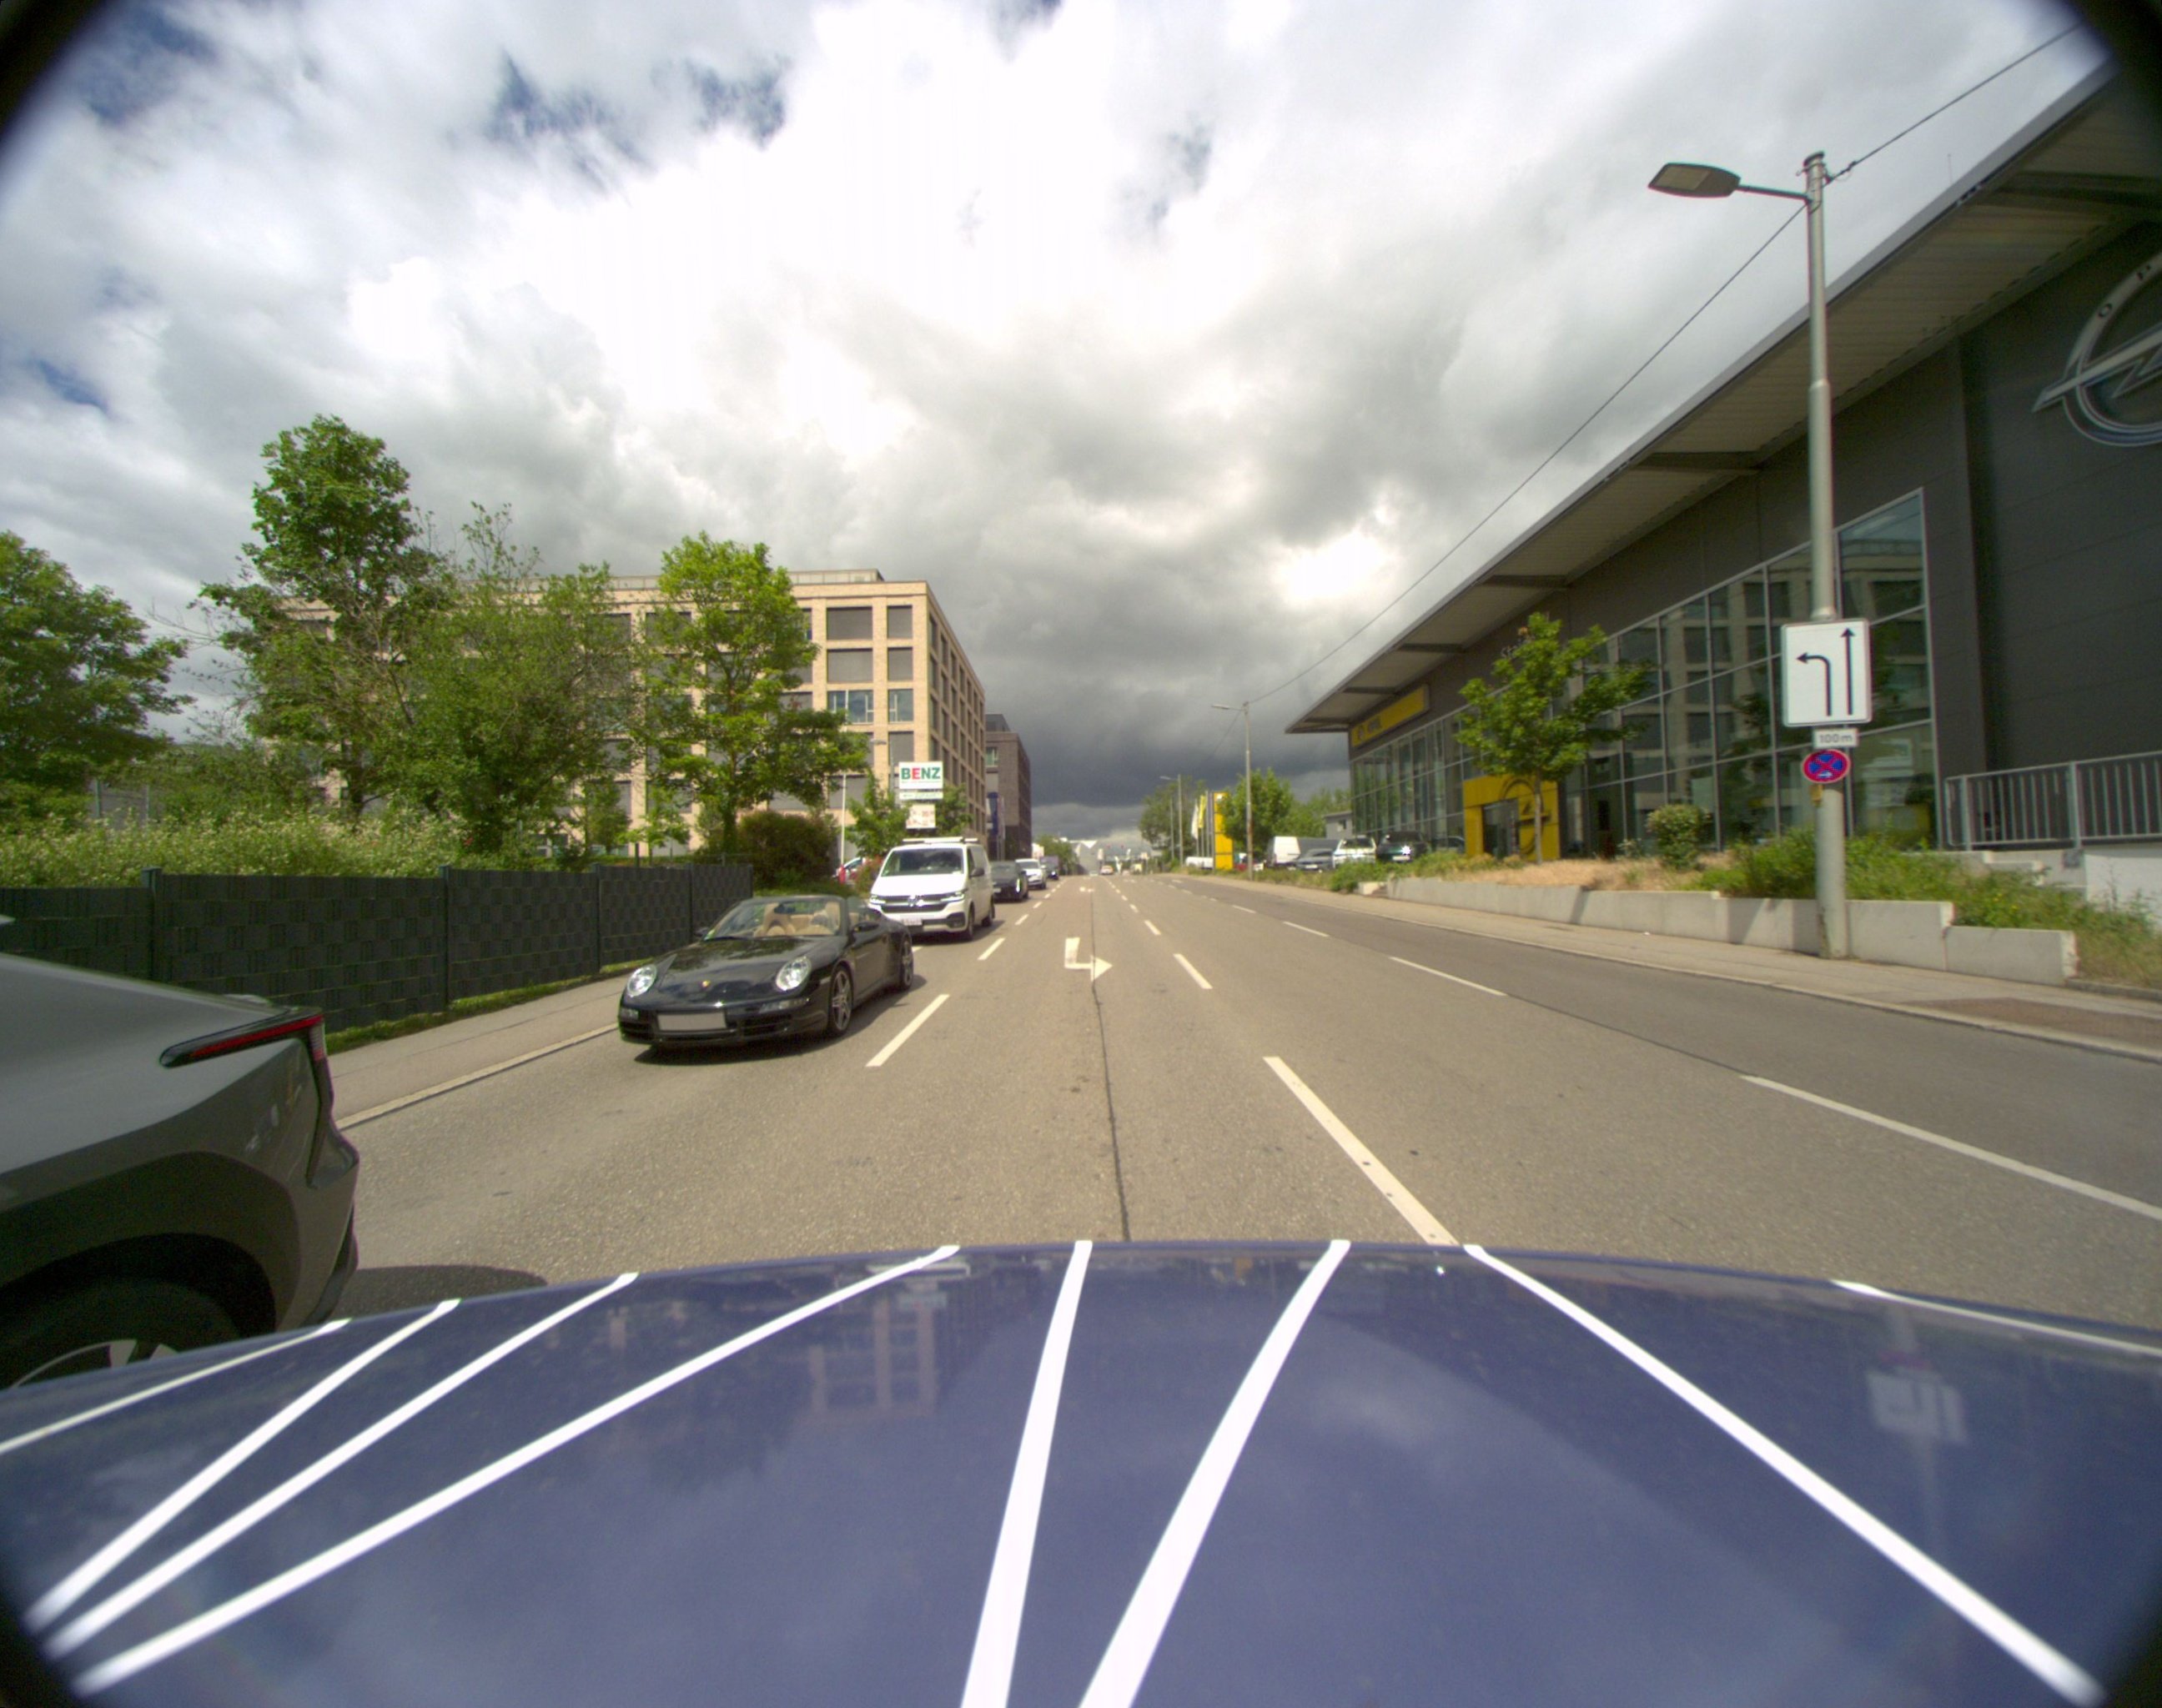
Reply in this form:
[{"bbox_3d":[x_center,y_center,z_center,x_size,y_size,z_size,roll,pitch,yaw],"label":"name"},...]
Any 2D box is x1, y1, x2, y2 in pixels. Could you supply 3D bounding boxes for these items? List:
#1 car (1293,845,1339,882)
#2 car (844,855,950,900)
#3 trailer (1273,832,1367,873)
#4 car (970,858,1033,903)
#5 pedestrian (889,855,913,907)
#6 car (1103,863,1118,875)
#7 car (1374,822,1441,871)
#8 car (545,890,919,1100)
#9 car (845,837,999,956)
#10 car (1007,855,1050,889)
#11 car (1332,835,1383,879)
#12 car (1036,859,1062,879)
[{"bbox_3d":[12.112,0.458,39.007,1.995,1.783,4.006,-1,0,21],"label":"car"},{"bbox_3d":[-7.625,0.950,31.756,3.998,1.723,1.822,-1,1,-3],"label":"car"},{"bbox_3d":[14.456,-0.079,46.166,5.074,2.336,2.000,-1,1,-1],"label":"trailer"},{"bbox_3d":[-2.823,0.905,27.880,1.818,1.454,4.000,-1,0,1],"label":"car"},{"bbox_3d":[-5.756,0.868,24.319,0.632,1.648,0.443,-1,1,-1],"label":"pedestrian"},{"bbox_3d":[4.510,2.264,116.490,1.998,1.731,4.547,-2,0,1],"label":"car"},{"bbox_3d":[12.341,-0.261,28.922,1.996,1.718,4.005,-1,0,18],"label":"car"},{"bbox_3d":[-3.033,1.149,7.686,1.824,1.286,4.038,-2,0,1],"label":"car"},{"bbox_3d":[-3.102,0.748,15.963,2.089,2.037,4.760,-2,0,1],"label":"car"},{"bbox_3d":[-2.587,0.887,38.421,1.818,1.577,4.000,-1,0,1],"label":"car"},{"bbox_3d":[12.173,0.120,33.433,1.995,1.783,4.006,-1,0,21],"label":"car"},{"bbox_3d":[-2.341,1.078,56.623,1.662,1.351,4.000,-1,0,1],"label":"car"}]
